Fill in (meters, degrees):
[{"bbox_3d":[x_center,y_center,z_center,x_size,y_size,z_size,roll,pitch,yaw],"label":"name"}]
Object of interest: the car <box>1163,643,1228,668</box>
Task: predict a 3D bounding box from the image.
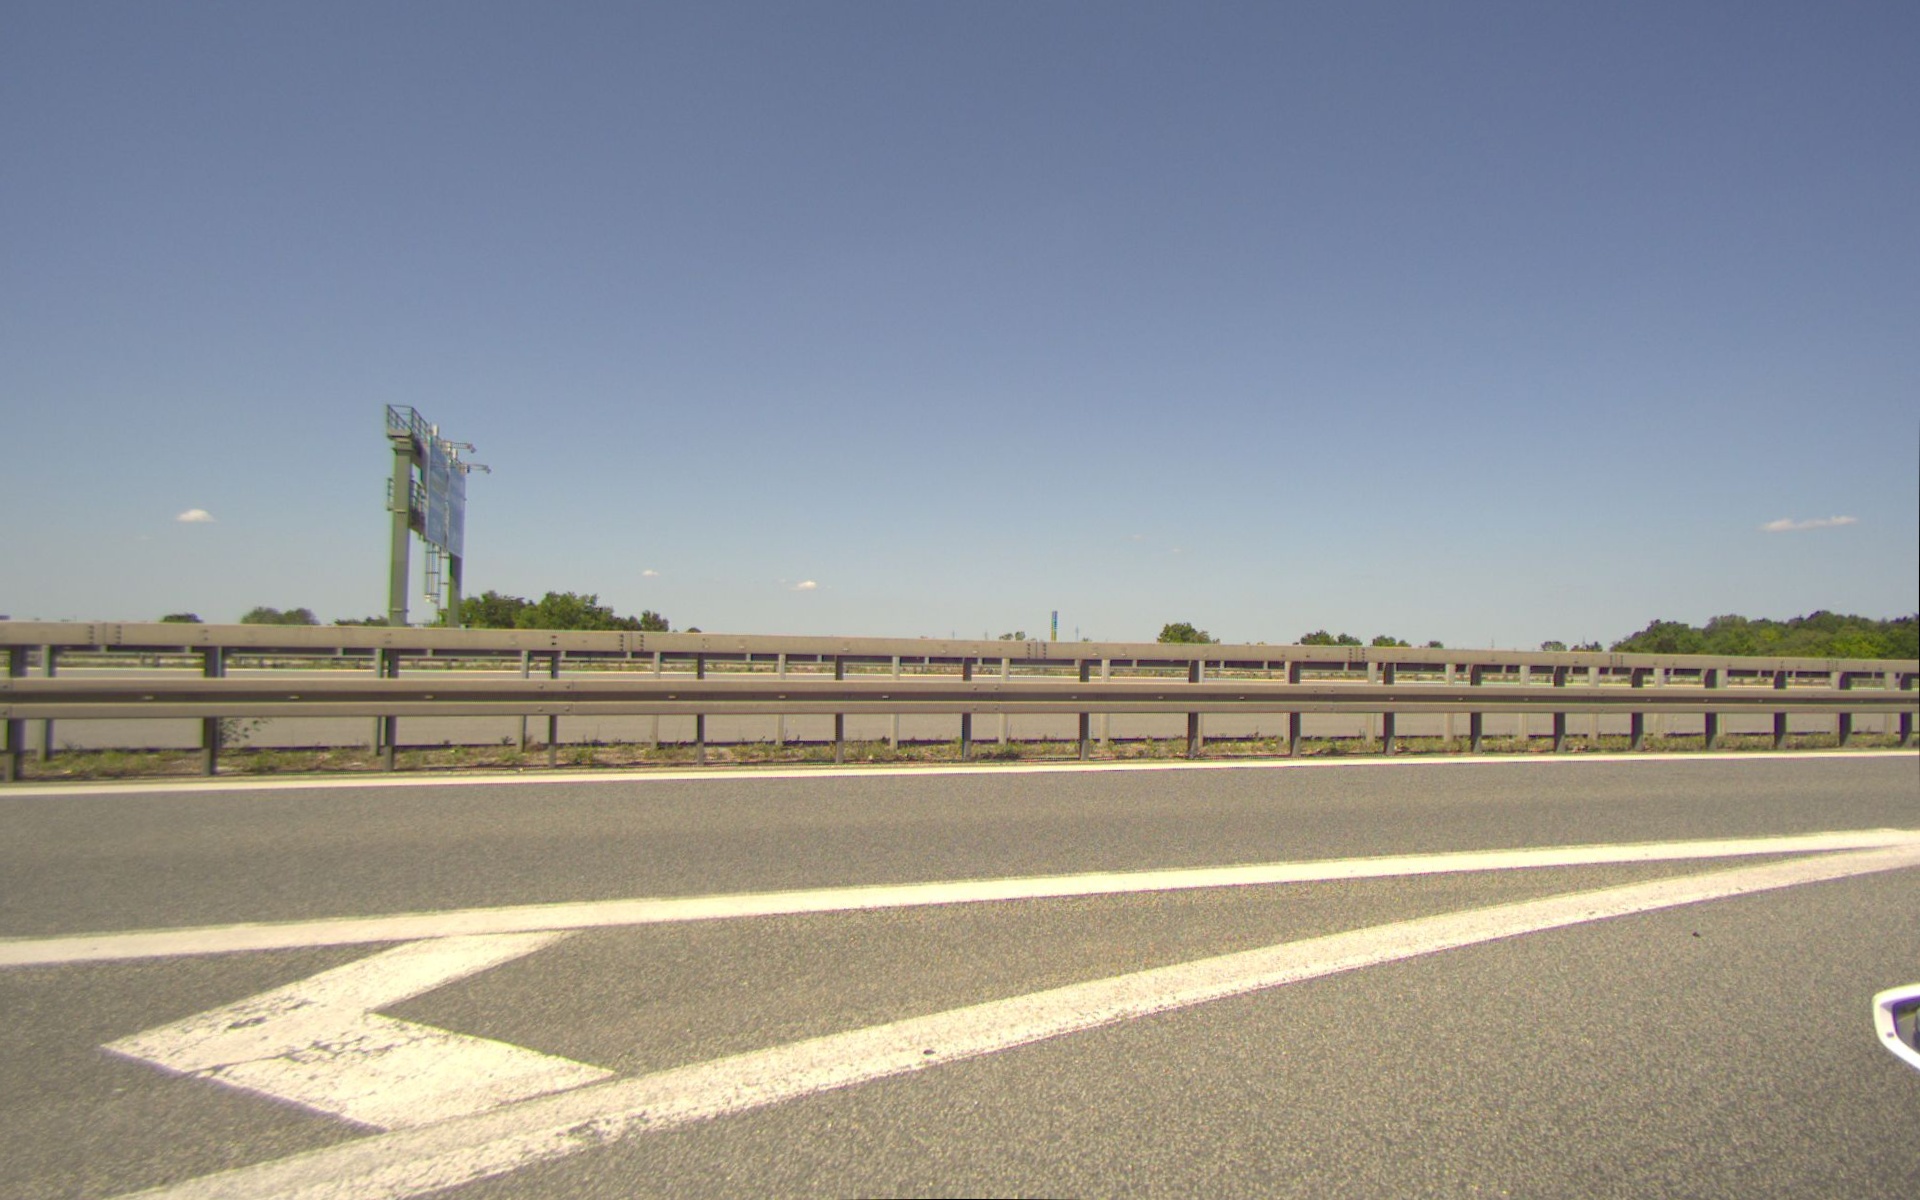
[{"bbox_3d":[14.671,3.463,62.613,3.560,1.374,1.623,4,-3,-18],"label":"car"}]
